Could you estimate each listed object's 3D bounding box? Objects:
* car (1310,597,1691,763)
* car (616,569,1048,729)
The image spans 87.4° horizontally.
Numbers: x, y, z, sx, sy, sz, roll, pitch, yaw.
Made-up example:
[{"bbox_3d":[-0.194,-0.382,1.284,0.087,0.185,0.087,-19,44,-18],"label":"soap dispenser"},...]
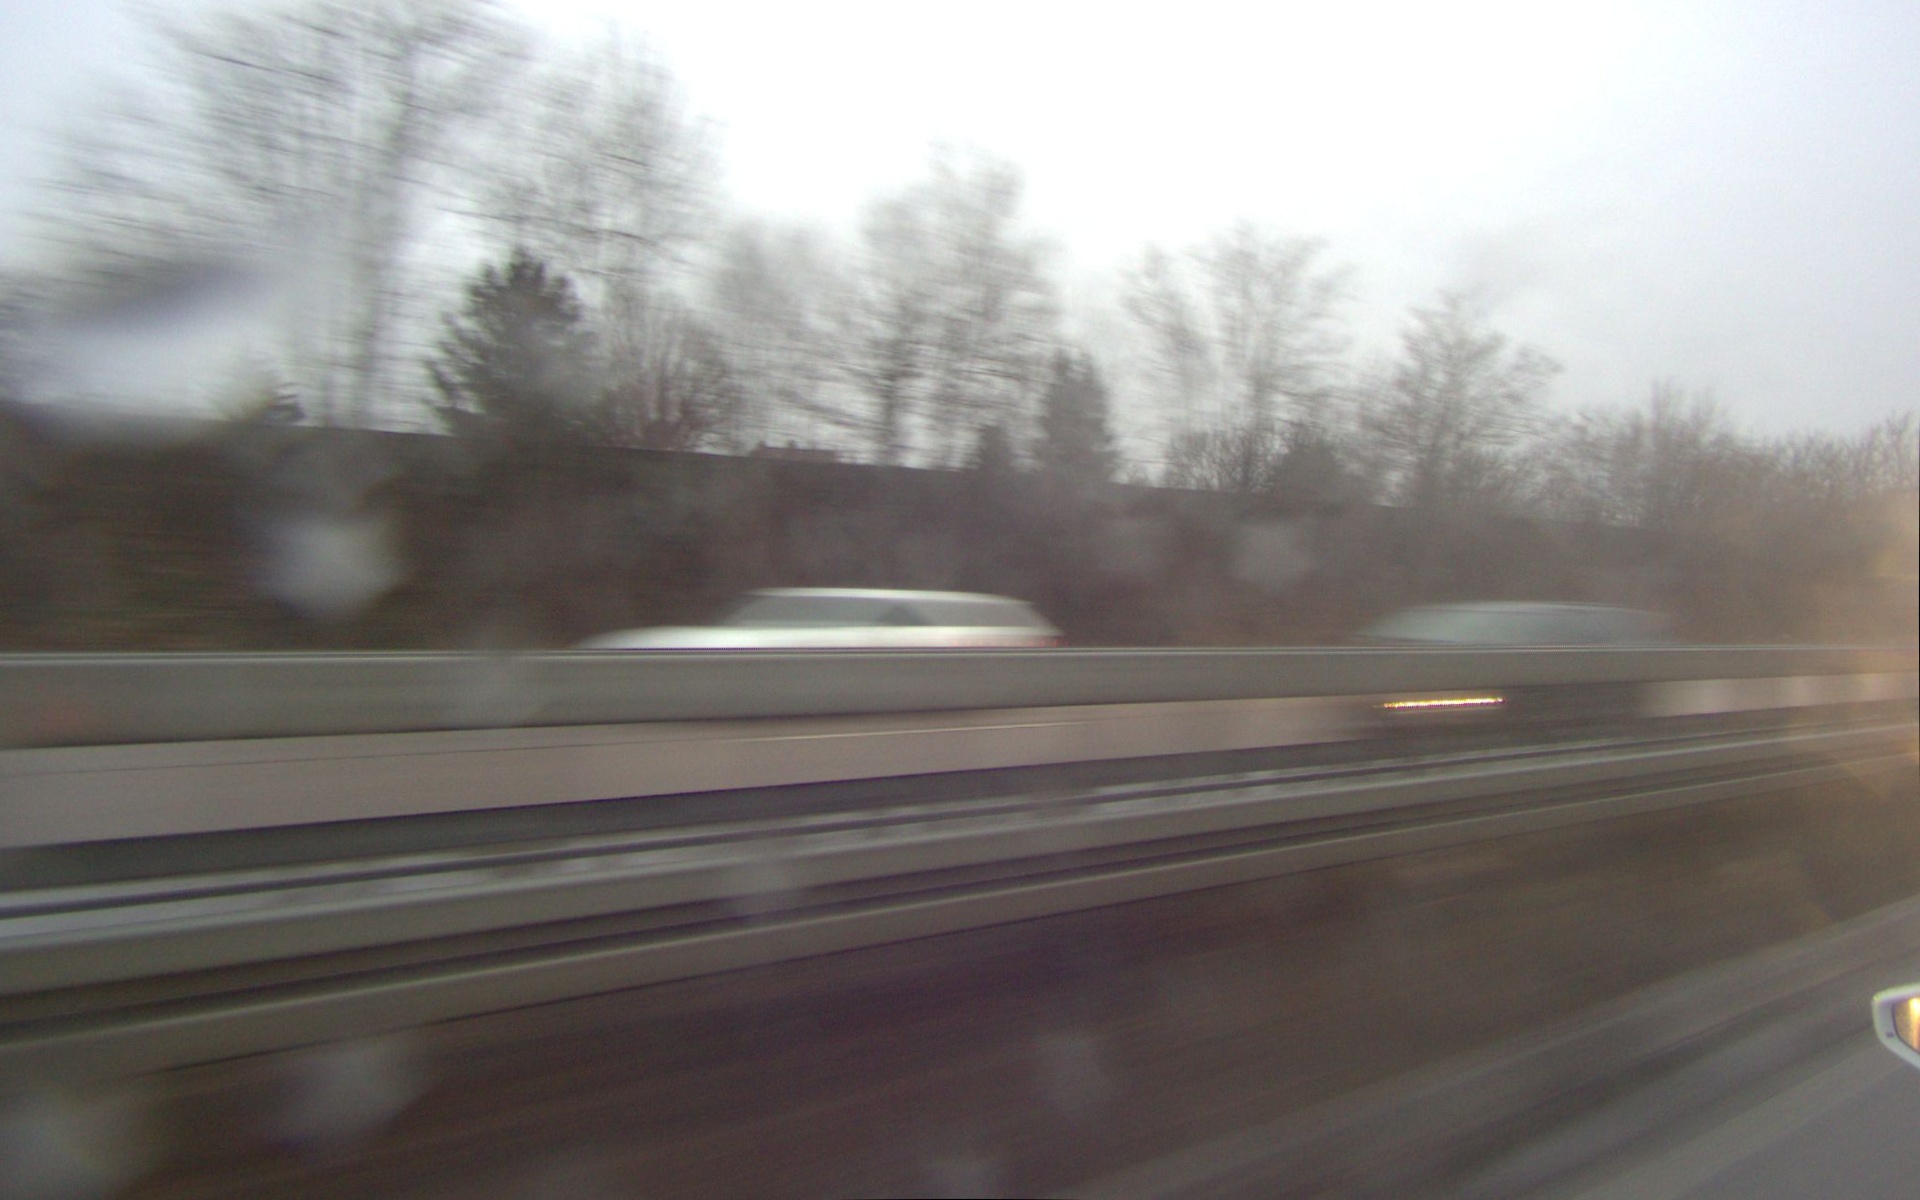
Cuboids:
[{"bbox_3d":[6.102,0.791,11.178,4.546,1.504,1.608,1,1,-31],"label":"car"},{"bbox_3d":[-1.410,0.515,11.908,4.794,1.587,1.695,1,1,-31],"label":"car"}]
